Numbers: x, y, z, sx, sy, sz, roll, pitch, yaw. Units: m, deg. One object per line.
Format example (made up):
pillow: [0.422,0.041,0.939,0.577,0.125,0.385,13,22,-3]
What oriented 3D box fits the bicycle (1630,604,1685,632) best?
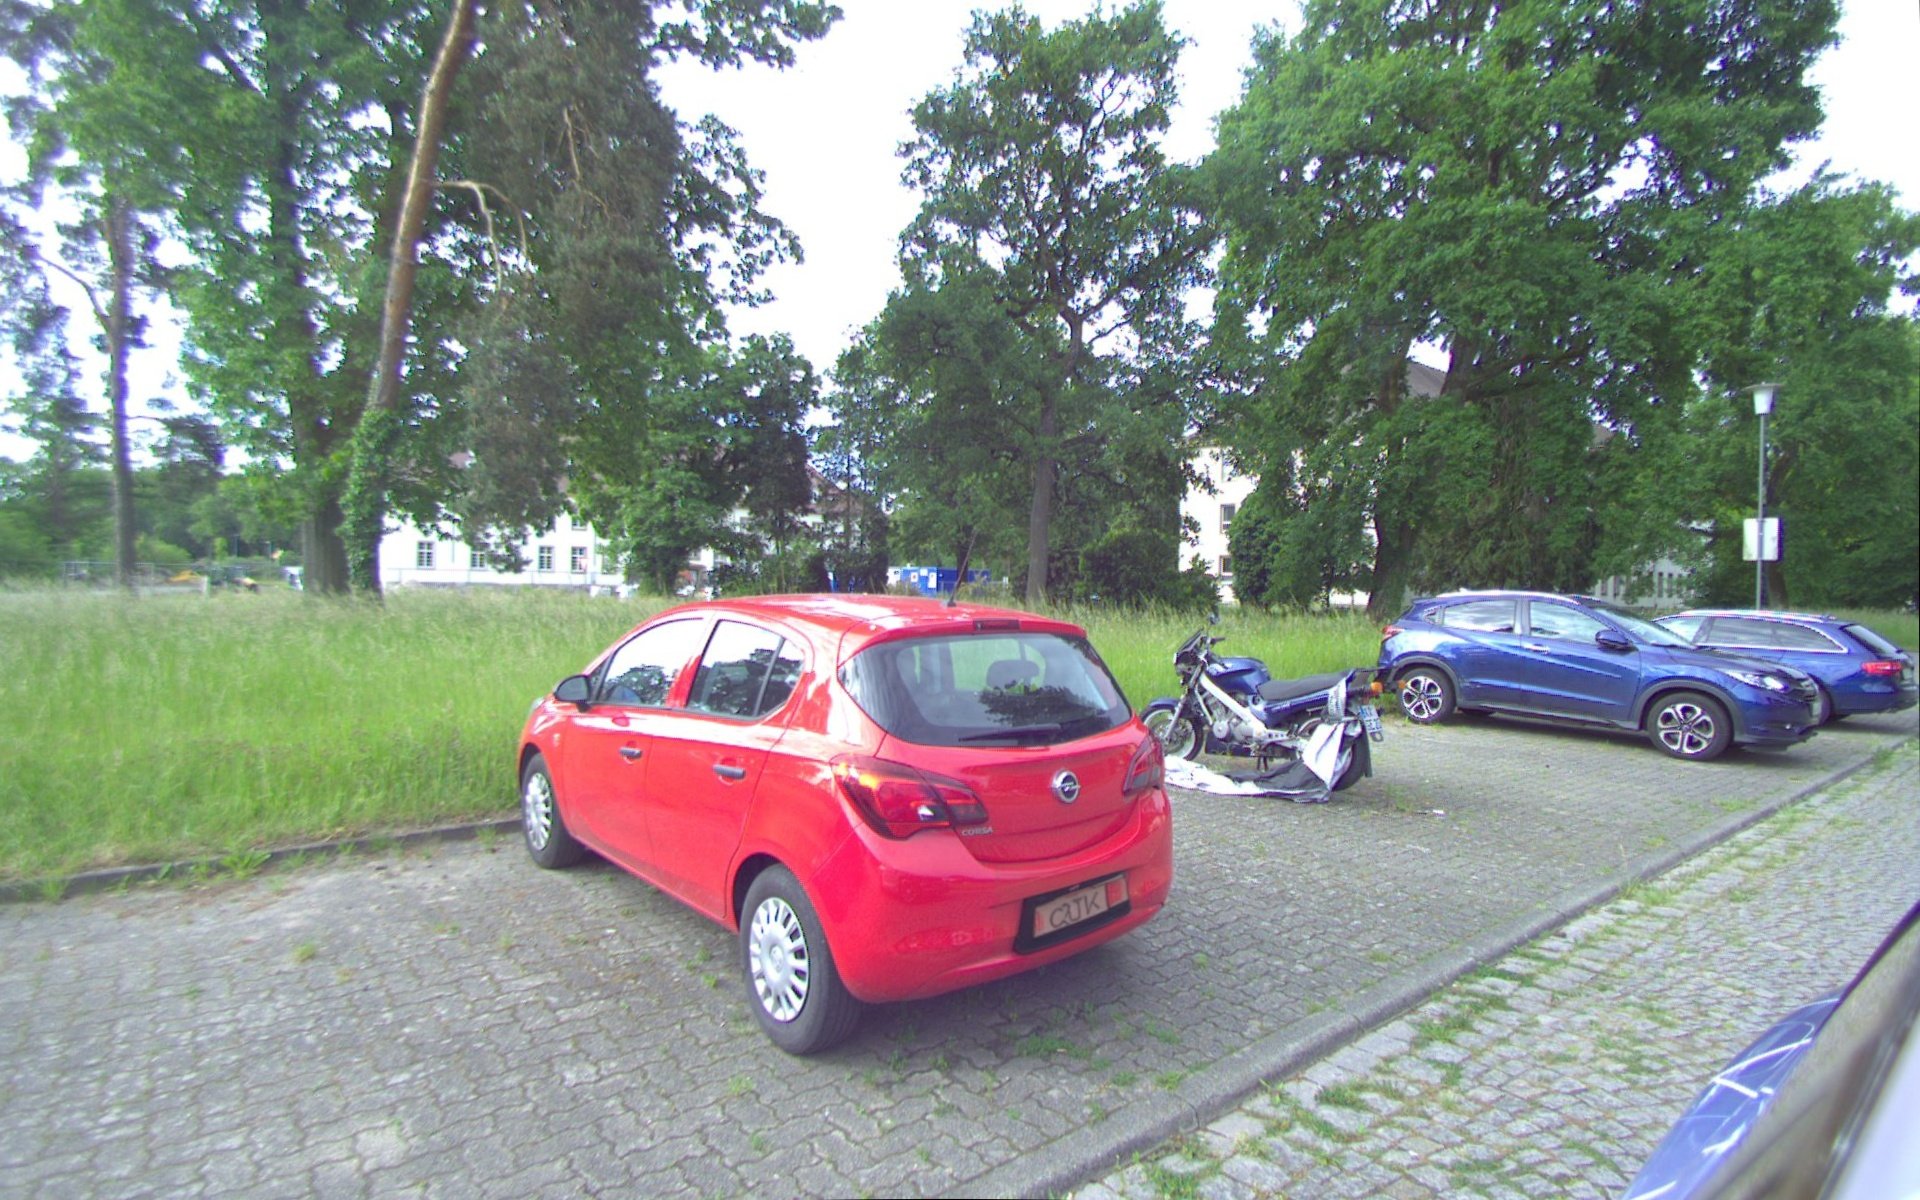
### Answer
bicycle: [29.417,0.763,42.690,1.840,1.137,0.616,0,0,28]

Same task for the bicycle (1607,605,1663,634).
bicycle: [27.631,0.776,41.430,1.840,1.137,0.616,0,0,28]

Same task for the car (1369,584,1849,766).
car: [6.969,0.639,11.262,1.761,1.591,4.171,-1,2,-39]

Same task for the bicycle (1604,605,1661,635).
bicycle: [26.620,0.780,40.093,1.840,1.137,0.616,0,0,28]

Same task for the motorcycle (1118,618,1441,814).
motorcycle: [2.413,0.805,7.956,0.782,1.200,2.331,0,2,-42]

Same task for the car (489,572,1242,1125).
car: [-0.798,0.659,4.885,1.748,1.478,3.834,0,2,-40]

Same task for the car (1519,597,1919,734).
car: [10.570,0.760,14.146,1.751,1.439,4.484,1,2,-36]

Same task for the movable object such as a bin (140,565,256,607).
movable object such as a bin: [-50.039,-0.911,66.575,5.859,2.688,2.177,0,0,-4]

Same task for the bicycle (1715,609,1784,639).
bicycle: [29.455,0.878,37.792,1.951,1.090,0.583,0,0,23]

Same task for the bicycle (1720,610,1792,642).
bicycle: [28.602,0.917,36.383,1.951,1.090,0.583,0,0,23]

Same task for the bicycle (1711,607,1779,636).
bicycle: [30.661,0.822,39.582,2.010,1.090,0.616,0,0,28]

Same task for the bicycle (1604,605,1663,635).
bicycle: [26.292,0.782,39.548,1.840,1.137,0.616,0,0,28]
